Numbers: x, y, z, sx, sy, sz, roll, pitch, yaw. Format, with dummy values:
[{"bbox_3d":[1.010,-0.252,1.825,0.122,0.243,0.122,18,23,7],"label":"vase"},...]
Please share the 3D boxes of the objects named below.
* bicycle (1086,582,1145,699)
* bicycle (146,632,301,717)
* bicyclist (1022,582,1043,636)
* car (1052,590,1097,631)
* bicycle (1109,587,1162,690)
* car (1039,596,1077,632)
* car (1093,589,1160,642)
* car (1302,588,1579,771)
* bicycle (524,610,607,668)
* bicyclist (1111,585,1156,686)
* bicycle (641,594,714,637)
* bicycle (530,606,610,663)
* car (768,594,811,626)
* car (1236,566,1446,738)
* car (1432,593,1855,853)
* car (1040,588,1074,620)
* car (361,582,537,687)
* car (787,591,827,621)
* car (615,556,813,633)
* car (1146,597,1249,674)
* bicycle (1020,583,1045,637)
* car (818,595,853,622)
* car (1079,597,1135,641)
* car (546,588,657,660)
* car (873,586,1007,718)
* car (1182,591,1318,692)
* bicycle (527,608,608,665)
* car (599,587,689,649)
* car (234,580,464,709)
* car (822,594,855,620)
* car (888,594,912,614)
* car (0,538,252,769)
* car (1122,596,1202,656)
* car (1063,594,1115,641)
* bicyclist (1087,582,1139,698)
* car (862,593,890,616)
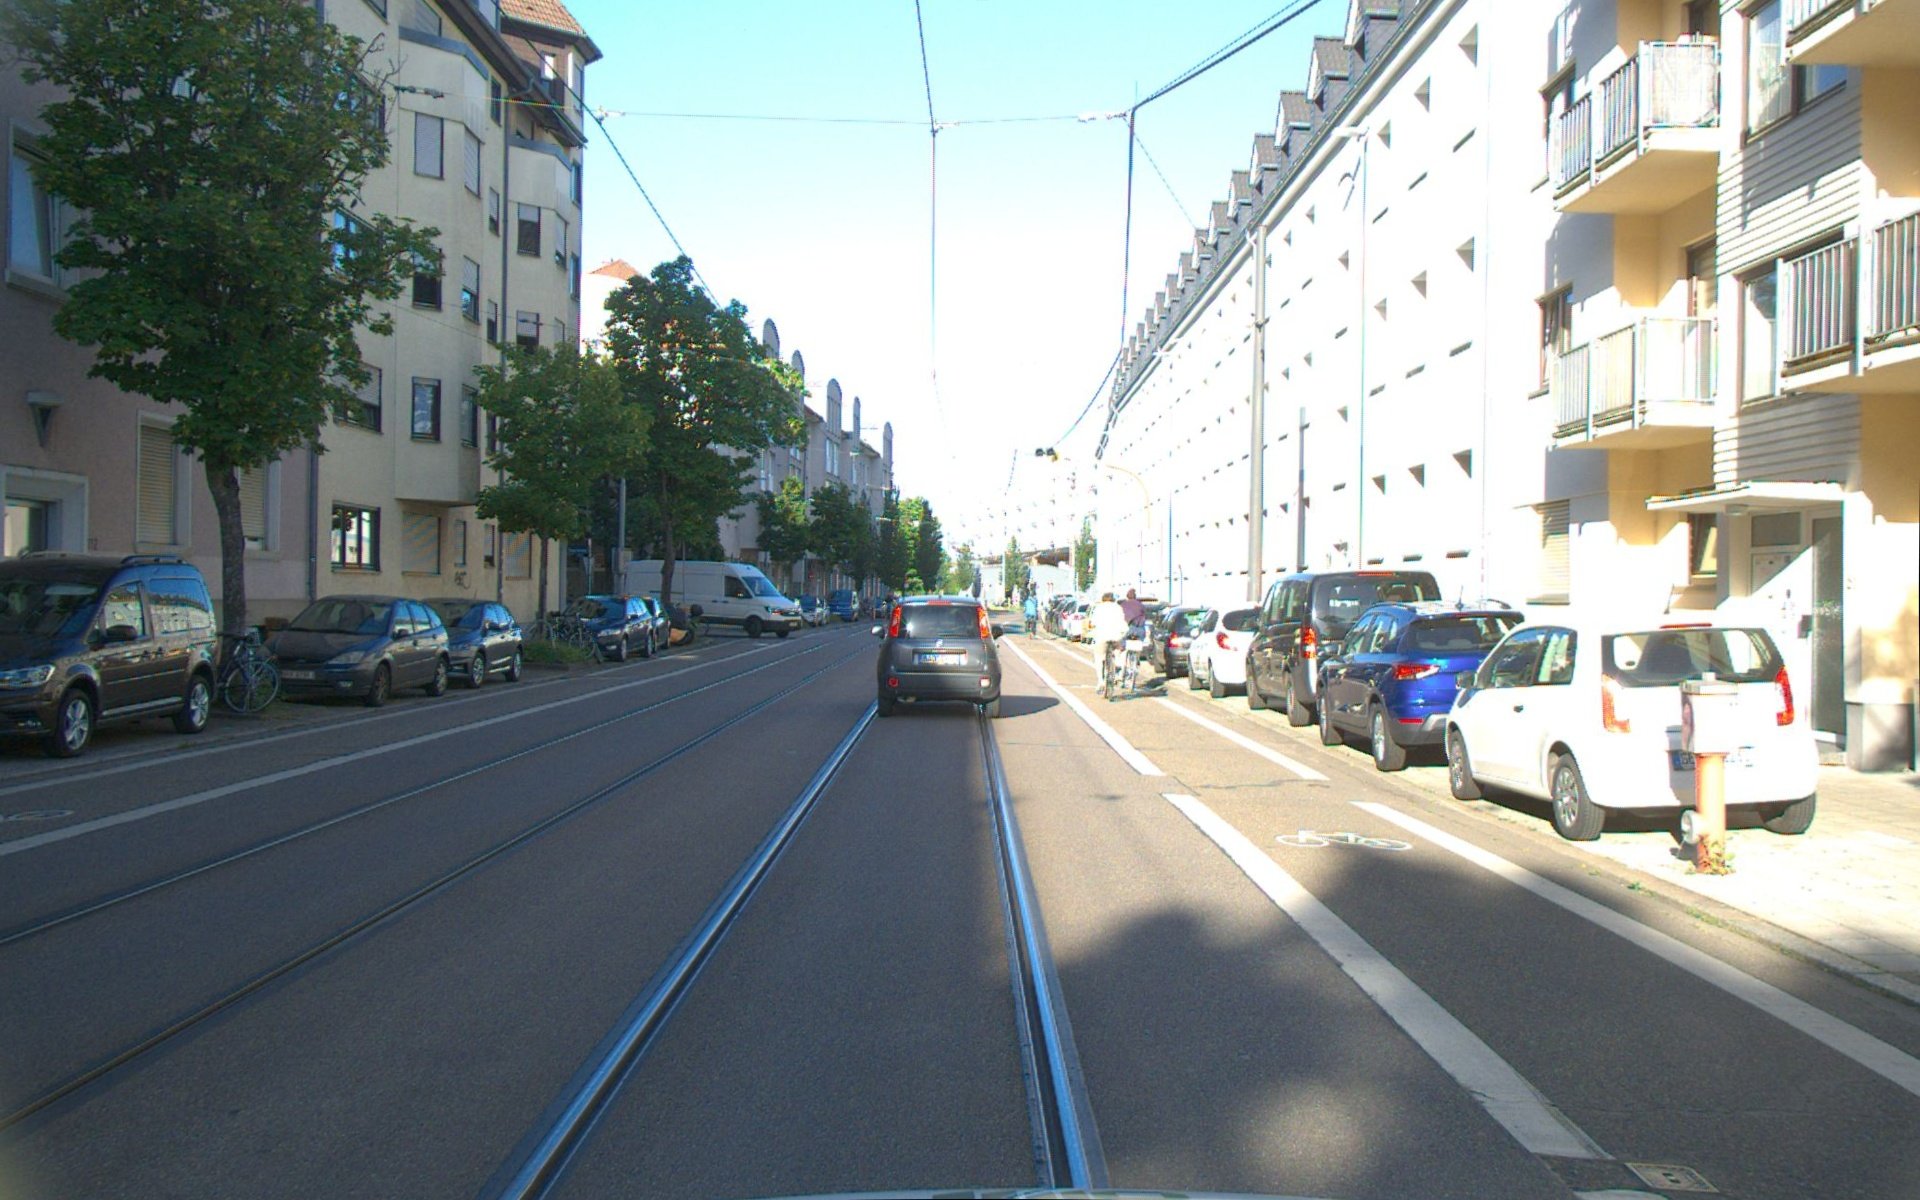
[{"bbox_3d":[2.464,0.616,26.391,0.661,1.777,2.157,2,0,-1],"label":"bicycle"},{"bbox_3d":[-8.950,0.901,20.131,1.599,0.953,0.516,2,0,-4],"label":"bicycle"},{"bbox_3d":[2.805,0.347,64.231,0.700,2.049,0.831,2,0,-1],"label":"bicyclist"},{"bbox_3d":[4.751,0.408,69.155,1.551,1.627,3.376,2,0,-1],"label":"car"},{"bbox_3d":[3.160,0.663,29.949,0.661,1.777,2.157,2,0,-1],"label":"bicycle"},{"bbox_3d":[4.684,0.649,79.617,1.551,1.627,3.376,2,0,-1],"label":"car"},{"bbox_3d":[4.847,0.430,48.510,1.551,1.430,3.376,2,0,-1],"label":"car"},{"bbox_3d":[4.723,0.710,16.825,1.622,1.598,3.875,2,0,-1],"label":"car"},{"bbox_3d":[-8.710,0.862,36.540,1.694,1.217,0.372,2,0,-4],"label":"bicycle"},{"bbox_3d":[3.144,0.637,30.022,0.685,1.790,0.757,2,0,-1],"label":"bicyclist"},{"bbox_3d":[-9.191,0.503,53.914,2.231,1.310,0.757,2,0,-5],"label":"bicycle"},{"bbox_3d":[-8.801,0.774,37.350,1.694,1.217,0.372,2,0,-4],"label":"bicycle"},{"bbox_3d":[-8.586,0.510,83.678,1.672,1.523,3.722,2,0,1],"label":"car"},{"bbox_3d":[4.895,0.606,21.886,1.622,1.978,4.664,2,0,-1],"label":"car"},{"bbox_3d":[4.836,0.774,12.240,1.622,1.598,3.498,2,0,-1],"label":"car"},{"bbox_3d":[5.222,0.187,89.174,1.551,1.627,3.376,2,0,-1],"label":"car"},{"bbox_3d":[-8.838,0.554,28.951,1.771,1.648,4.064,2,0,0],"label":"car"},{"bbox_3d":[-8.172,0.319,88.570,1.672,1.523,3.722,2,0,1],"label":"car"},{"bbox_3d":[-8.707,-0.215,58.389,6.764,2.445,2.175,2,0,24],"label":"car"},{"bbox_3d":[4.832,0.692,34.038,1.551,1.430,3.376,2,0,-1],"label":"car"},{"bbox_3d":[2.797,0.376,64.230,0.726,2.049,2.811,2,0,-1],"label":"bicycle"},{"bbox_3d":[-7.345,0.472,97.793,1.672,1.523,3.722,2,0,1],"label":"car"},{"bbox_3d":[5.022,0.625,56.892,1.551,1.430,3.376,2,0,-1],"label":"car"},{"bbox_3d":[-8.546,0.541,39.769,1.797,1.583,3.999,2,0,-1],"label":"car"},{"bbox_3d":[-0.203,0.632,22.549,1.616,1.568,4.235,2,0,1],"label":"car"},{"bbox_3d":[4.730,0.642,27.338,1.622,1.526,3.129,2,0,-1],"label":"car"},{"bbox_3d":[-8.759,0.815,36.936,1.694,1.217,0.372,2,0,-4],"label":"bicycle"},{"bbox_3d":[-8.563,0.466,45.118,1.797,1.583,3.376,2,0,-1],"label":"car"},{"bbox_3d":[-8.694,0.582,23.930,1.771,1.648,4.064,2,0,0],"label":"car"},{"bbox_3d":[-7.490,0.425,102.505,1.672,1.523,3.722,2,0,1],"label":"car"},{"bbox_3d":[-4.717,0.319,130.253,1.672,1.523,3.722,2,0,1],"label":"car"},{"bbox_3d":[-8.857,0.427,16.368,1.771,1.977,4.333,2,0,0],"label":"car"},{"bbox_3d":[5.174,0.640,42.671,1.551,1.430,3.376,-3,0,-1],"label":"car"},{"bbox_3d":[4.762,0.633,61.350,1.551,1.627,3.376,2,0,-1],"label":"car"},{"bbox_3d":[2.428,0.625,26.319,0.685,1.790,0.757,2,0,-1],"label":"bicyclist"},{"bbox_3d":[-6.005,0.312,118.374,1.672,1.523,3.722,2,0,1],"label":"car"}]
